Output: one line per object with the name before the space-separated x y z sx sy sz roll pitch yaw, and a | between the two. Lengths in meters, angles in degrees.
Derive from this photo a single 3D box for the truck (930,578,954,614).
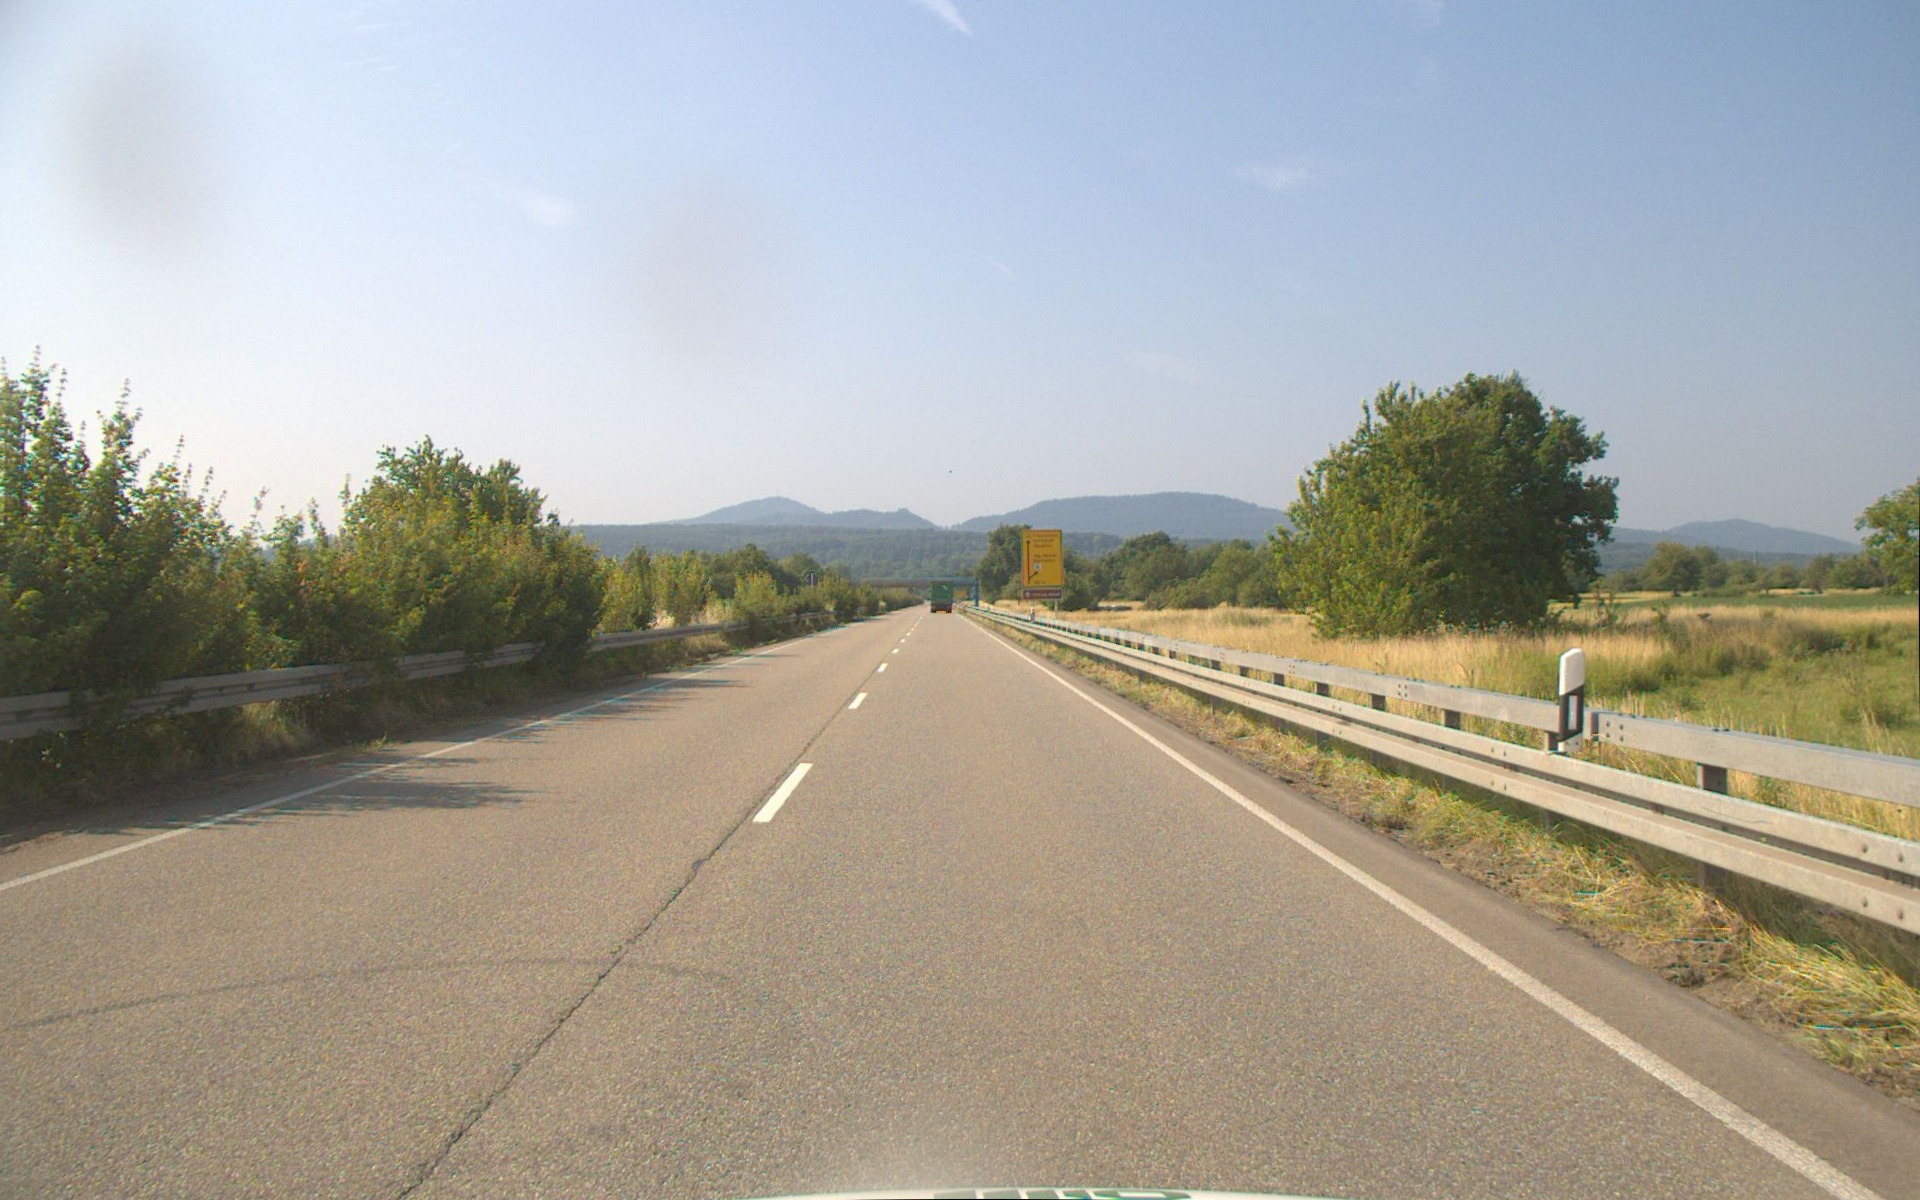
truck | -2.127 -0.500 194.782 2.667 4.034 10.415 1 1 0
